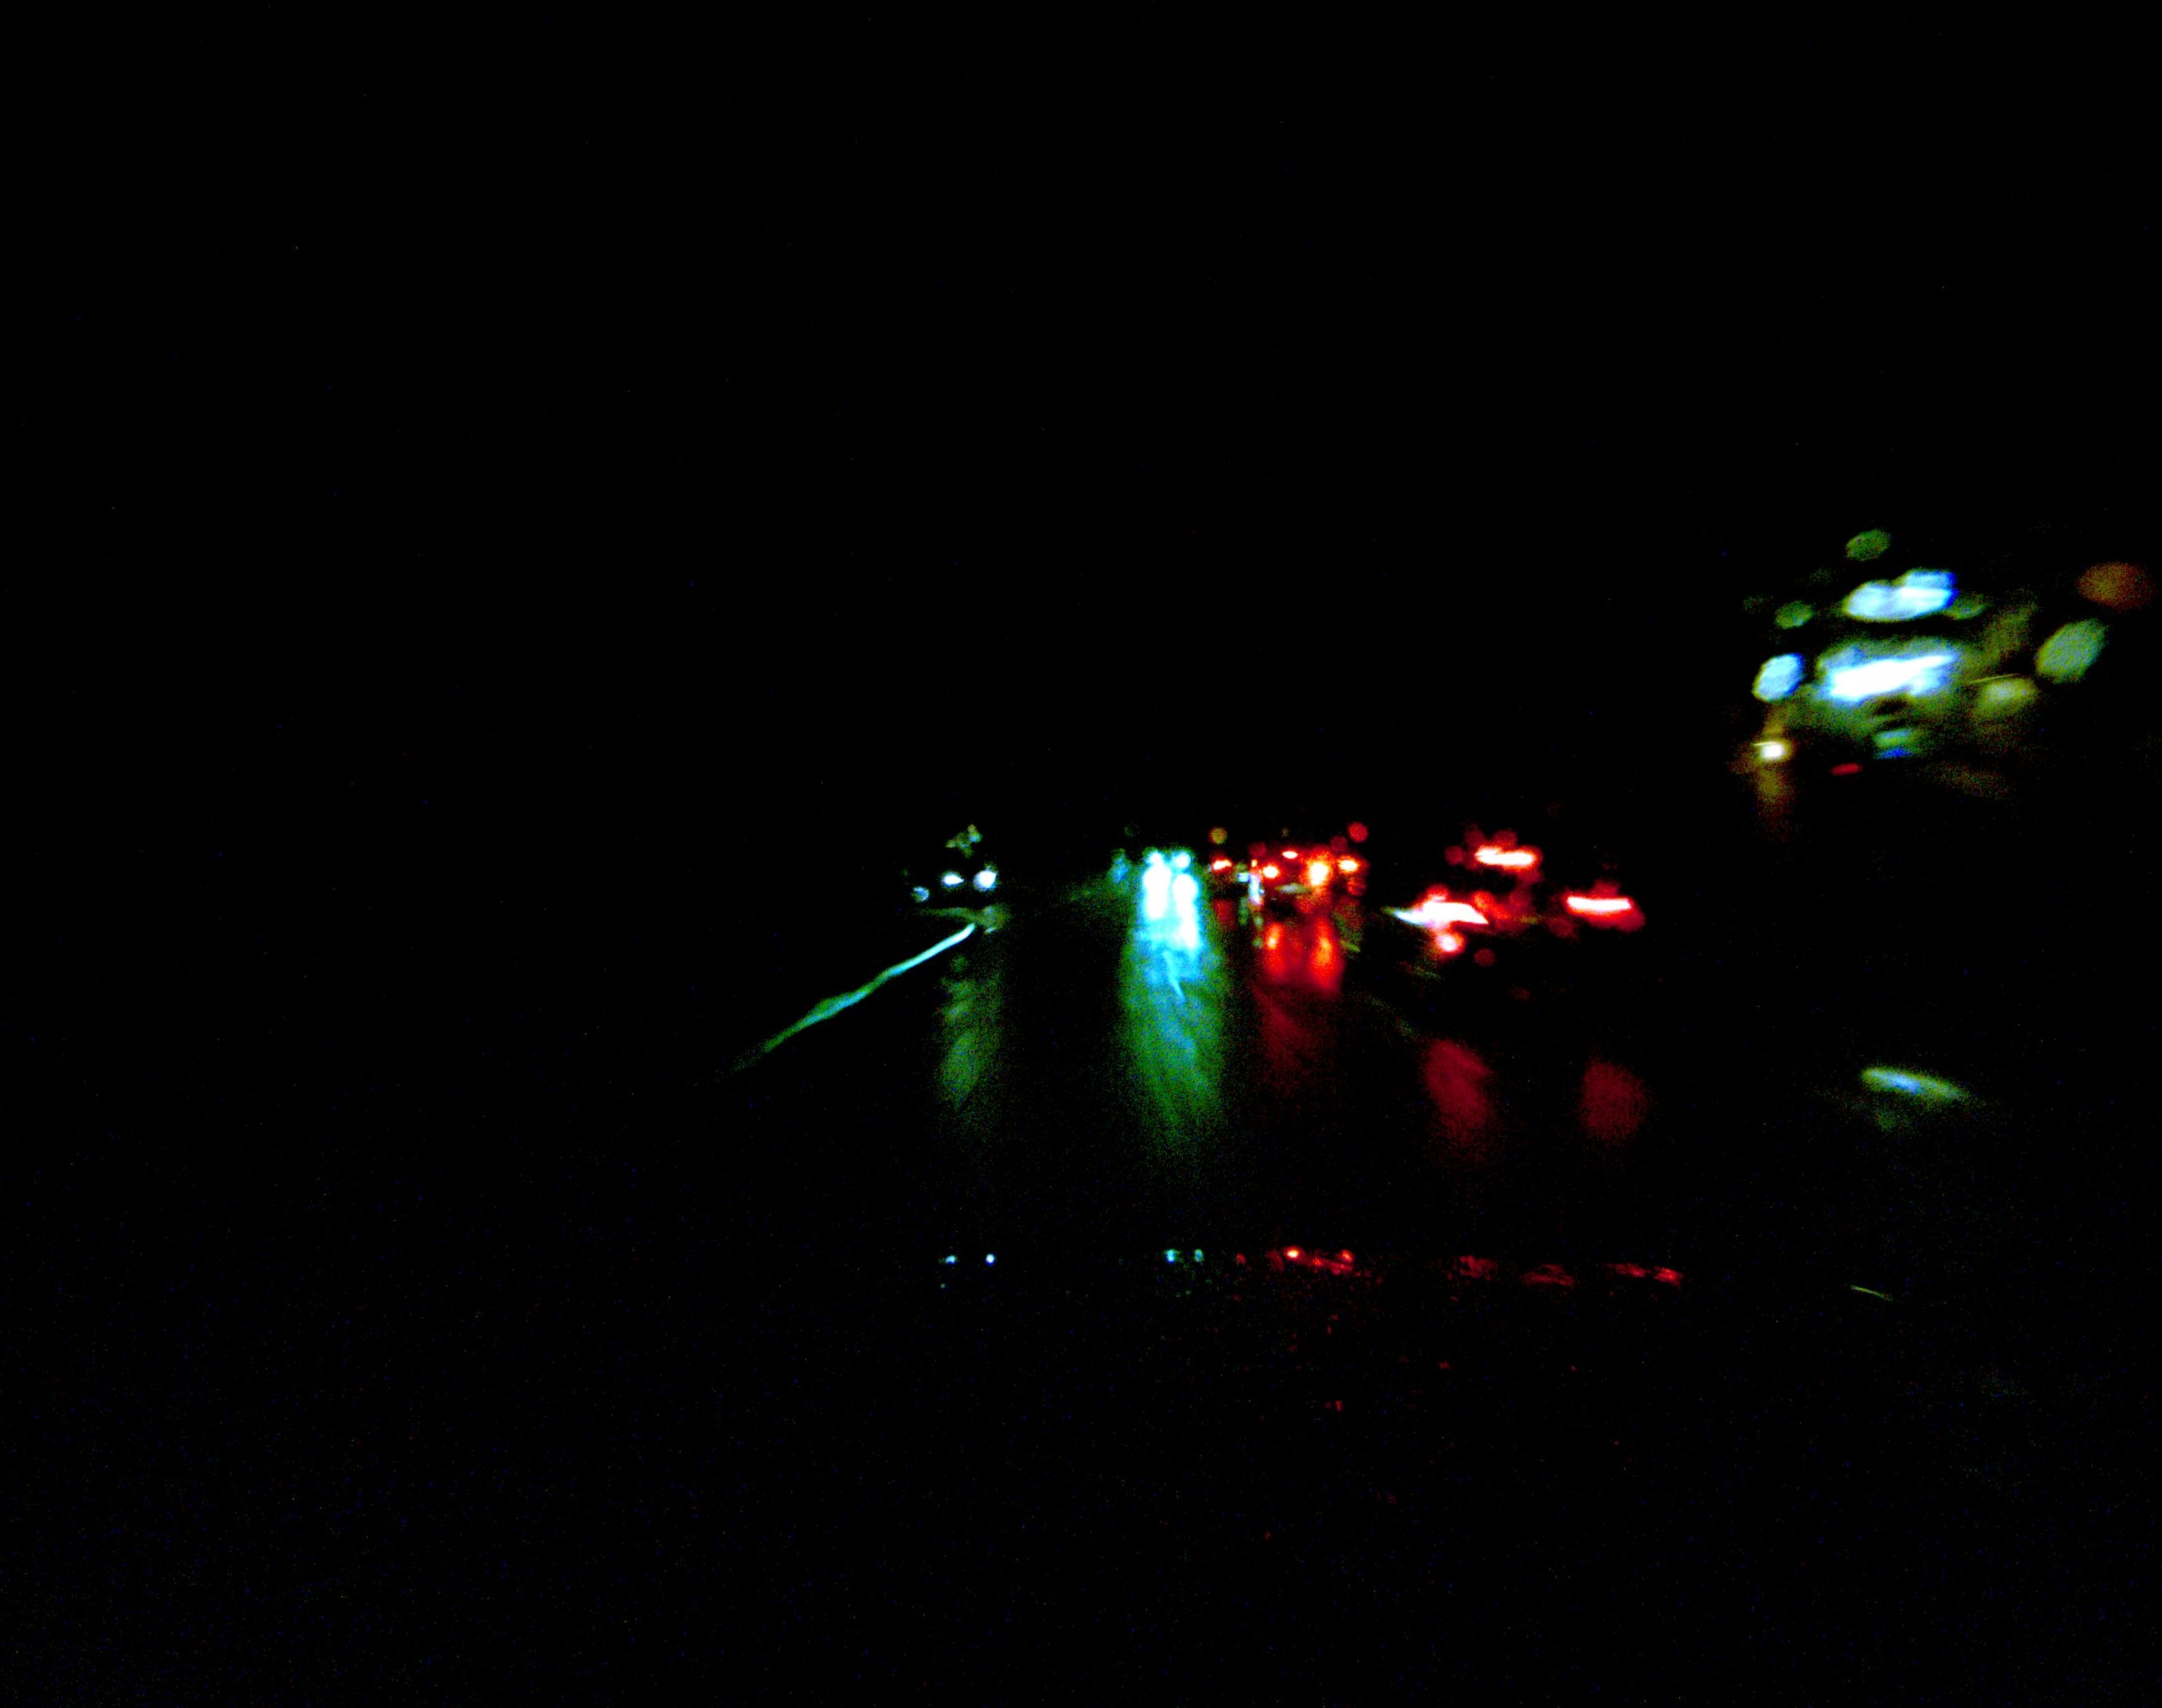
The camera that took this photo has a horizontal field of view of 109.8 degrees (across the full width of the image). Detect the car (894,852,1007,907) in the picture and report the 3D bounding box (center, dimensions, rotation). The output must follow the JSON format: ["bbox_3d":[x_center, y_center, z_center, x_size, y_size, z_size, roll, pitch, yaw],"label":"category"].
[{"bbox_3d":[-4.771,0.860,27.210,1.964,1.682,4.762,-5,2,-36],"label":"car"}]

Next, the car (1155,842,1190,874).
[{"bbox_3d":[5.618,0.224,46.451,1.958,1.712,4.001,-2,2,9],"label":"car"}]

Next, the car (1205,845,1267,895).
[{"bbox_3d":[5.676,0.514,28.304,1.959,1.513,4.400,-3,2,8],"label":"car"}]

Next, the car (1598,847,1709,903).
[{"bbox_3d":[16.204,0.518,21.735,1.689,1.390,4.157,1,1,25],"label":"car"}]

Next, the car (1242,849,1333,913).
[{"bbox_3d":[5.486,0.648,20.652,1.716,1.467,3.870,-3,0,6],"label":"car"}]

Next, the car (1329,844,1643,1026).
[{"bbox_3d":[4.263,0.726,8.753,1.699,1.590,3.801,-2,0,3],"label":"car"}]
